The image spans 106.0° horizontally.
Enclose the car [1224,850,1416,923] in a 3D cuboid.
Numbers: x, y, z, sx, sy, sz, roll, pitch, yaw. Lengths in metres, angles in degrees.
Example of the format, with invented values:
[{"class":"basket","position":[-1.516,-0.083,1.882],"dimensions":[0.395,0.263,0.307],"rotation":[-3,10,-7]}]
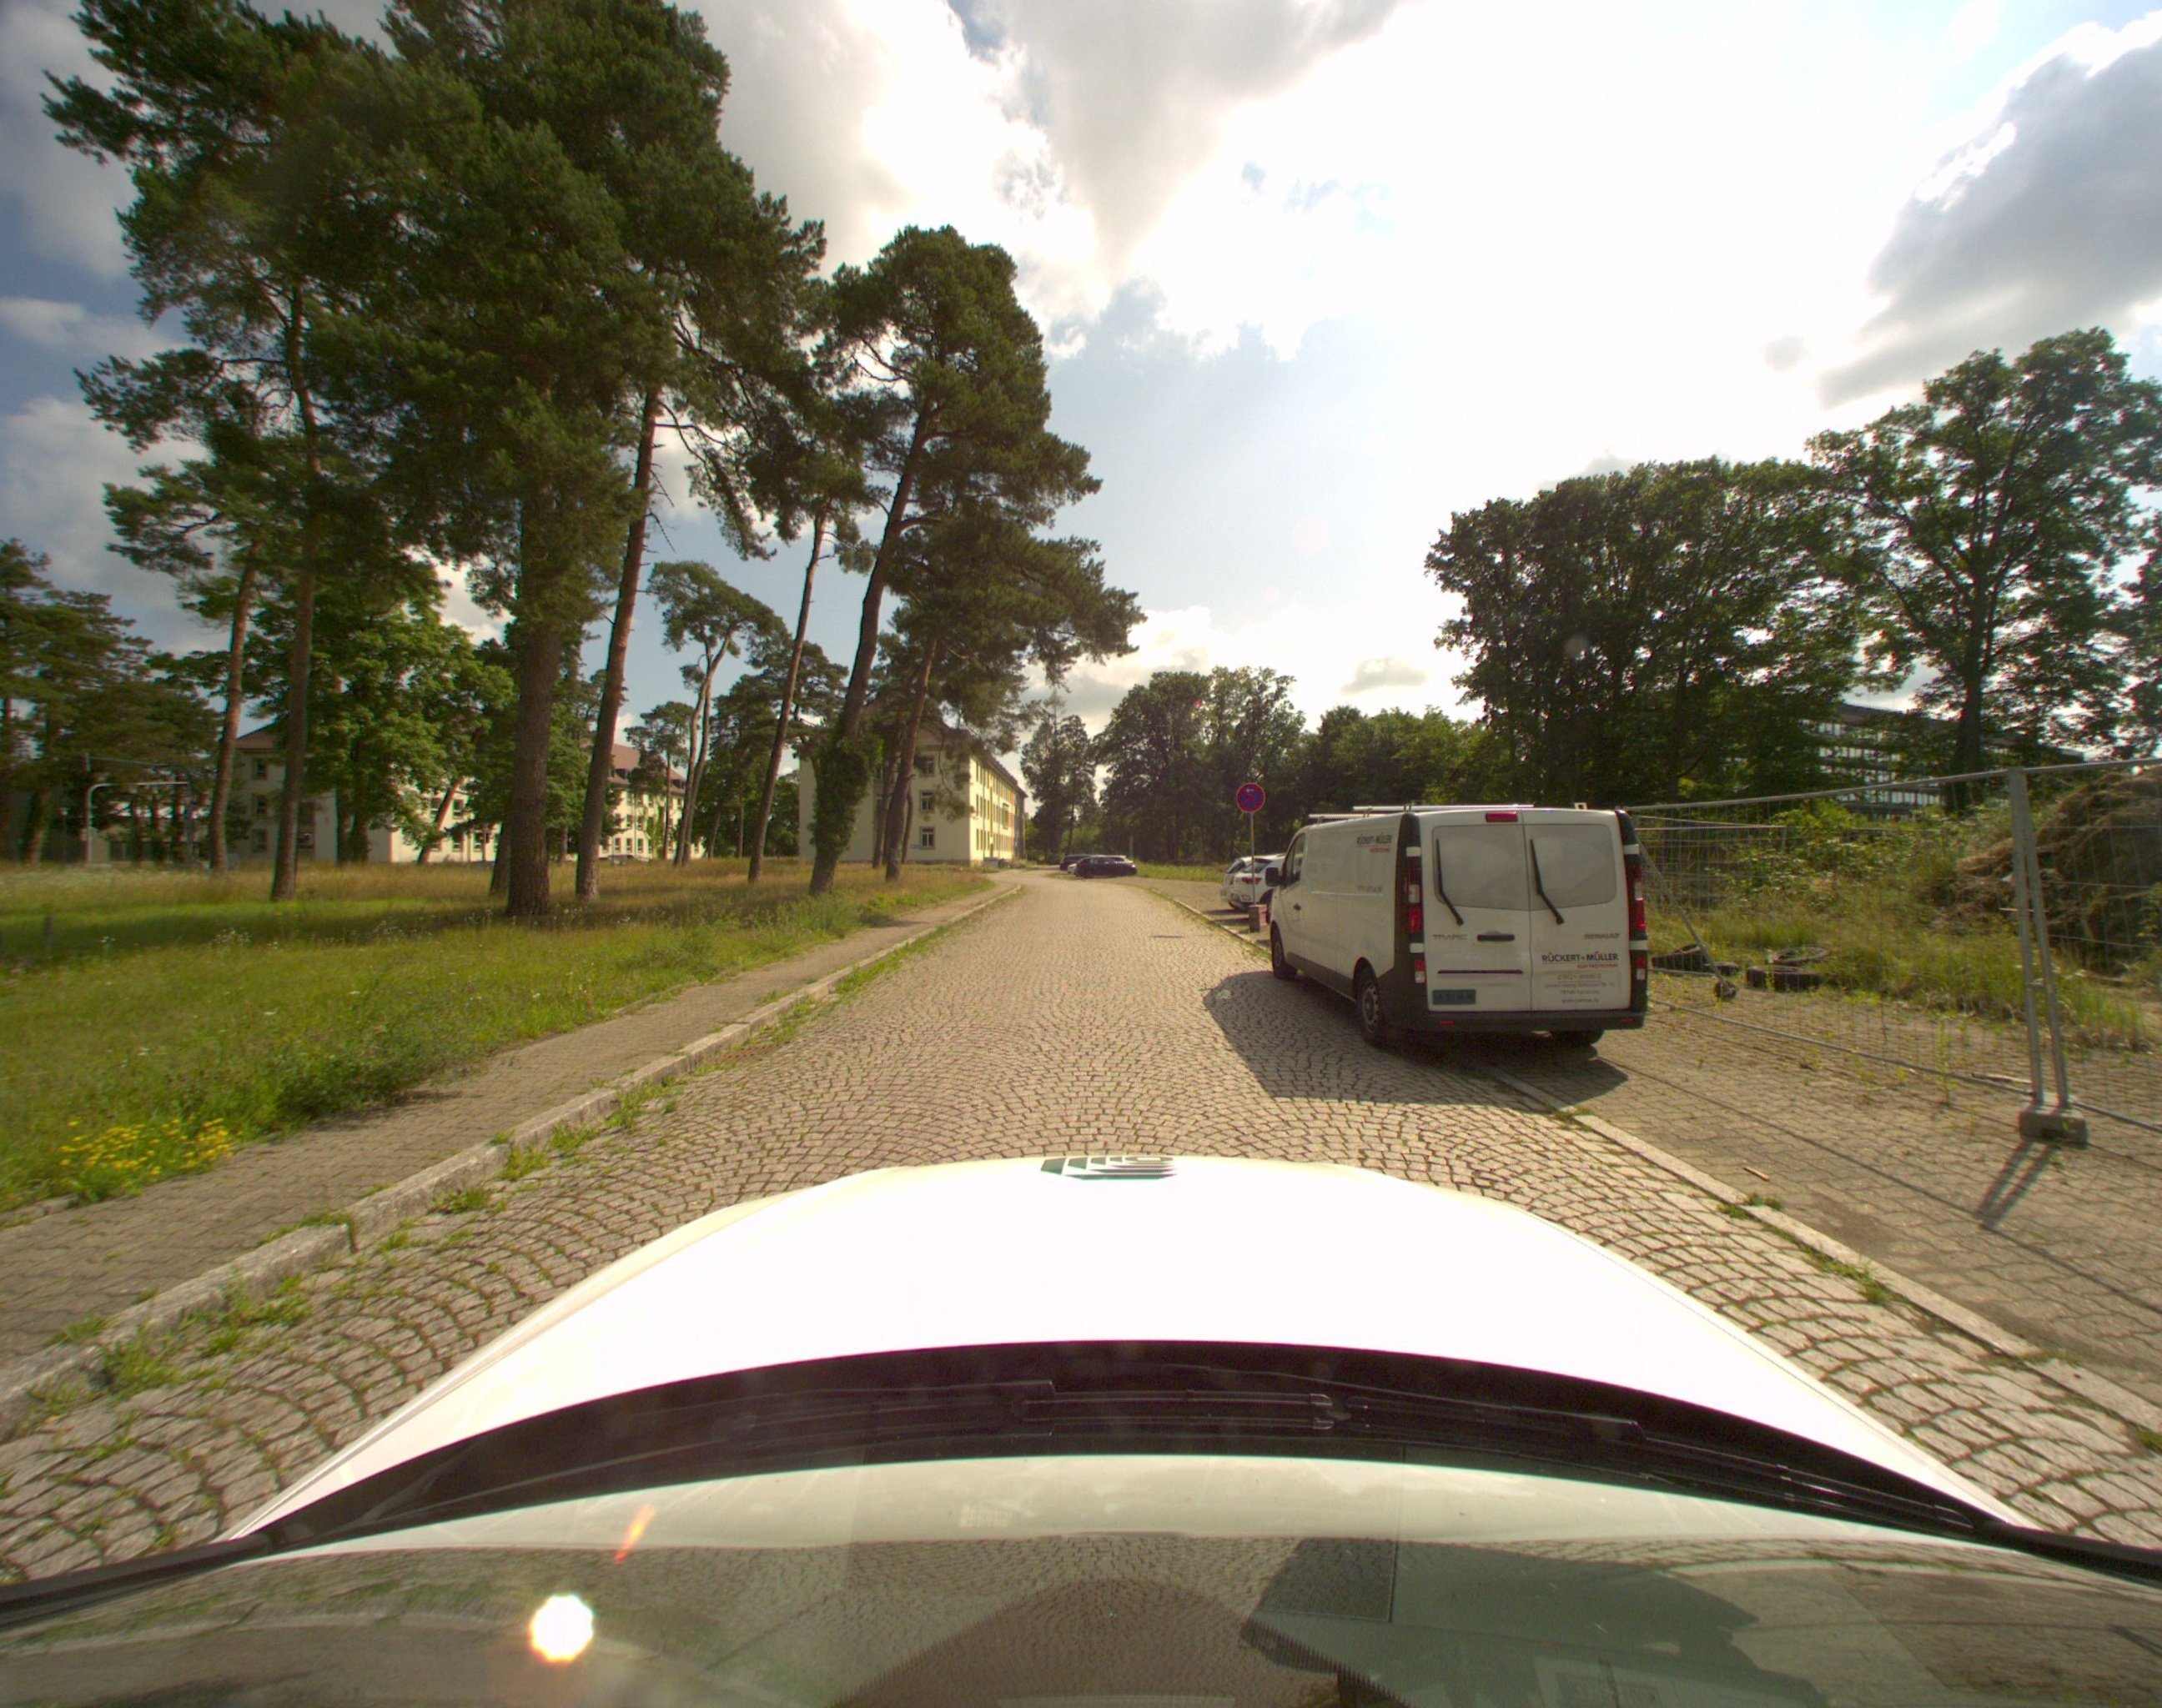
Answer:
[{"class":"car","position":[5.560,0.732,19.227],"dimensions":[3.977,1.507,1.745],"rotation":[-2,0,-3]}]

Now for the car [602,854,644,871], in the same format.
[{"class":"car","position":[-55.809,1.011,99.235],"dimensions":[4.045,1.991,1.713],"rotation":[-1,0,0]}]

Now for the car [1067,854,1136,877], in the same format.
[{"class":"car","position":[1.452,0.801,59.037],"dimensions":[4.849,1.472,1.873],"rotation":[-2,1,-2]}]

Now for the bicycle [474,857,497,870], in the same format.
[{"class":"bicycle","position":[-49.539,0.774,67.762],"dimensions":[0.486,1.101,1.591],"rotation":[0,0,12]}]

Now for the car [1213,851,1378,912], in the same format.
[{"class":"car","position":[5.787,0.732,22.292],"dimensions":[4.032,1.464,1.702],"rotation":[-2,0,-3]}]

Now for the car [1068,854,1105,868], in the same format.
[{"class":"car","position":[0.659,0.806,94.507],"dimensions":[4.171,1.543,1.821],"rotation":[-2,-1,1]}]

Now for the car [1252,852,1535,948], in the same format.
[{"class":"car","position":[5.528,0.771,14.724],"dimensions":[4.445,1.475,1.743],"rotation":[-2,0,-5]}]

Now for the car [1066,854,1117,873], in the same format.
[{"class":"car","position":[0.867,0.842,71.695],"dimensions":[4.386,1.484,1.764],"rotation":[-2,-1,-2]}]

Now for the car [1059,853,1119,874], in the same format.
[{"class":"car","position":[0.634,0.741,66.381],"dimensions":[4.839,1.552,1.878],"rotation":[-2,-1,-2]}]

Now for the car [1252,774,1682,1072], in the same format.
[{"class":"car","position":[3.278,0.492,8.509],"dimensions":[1.907,2.053,5.680],"rotation":[-1,0,1]}]

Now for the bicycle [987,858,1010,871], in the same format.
[{"class":"bicycle","position":[-8.366,1.069,82.408],"dimensions":[2.211,1.260,0.624],"rotation":[-1,-1,6]}]

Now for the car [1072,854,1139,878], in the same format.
[{"class":"car","position":[1.686,0.805,55.906],"dimensions":[4.322,1.500,1.825],"rotation":[-2,1,-8]}]

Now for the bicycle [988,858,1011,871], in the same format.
[{"class":"bicycle","position":[-8.341,1.090,83.383],"dimensions":[2.213,1.260,0.623],"rotation":[-1,-1,2]}]
